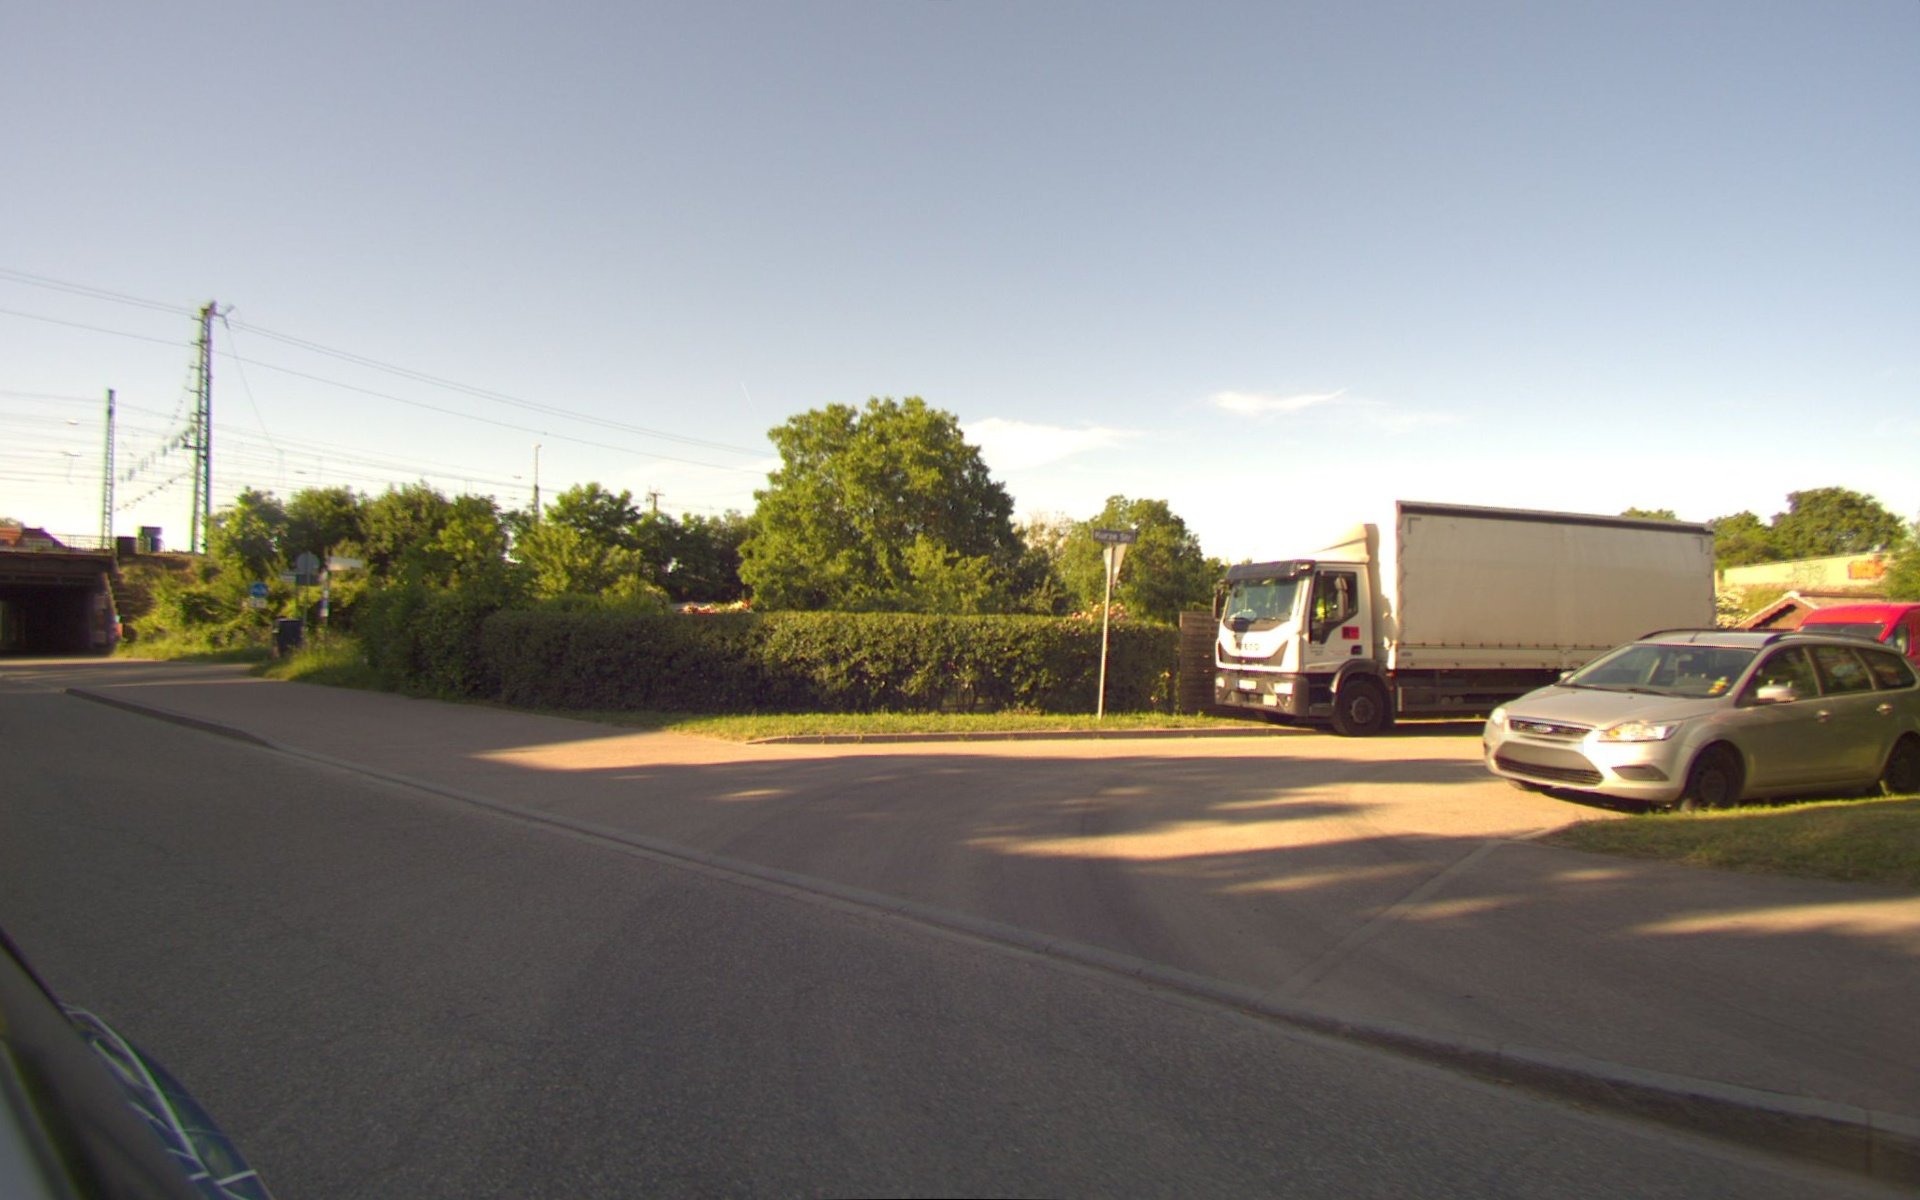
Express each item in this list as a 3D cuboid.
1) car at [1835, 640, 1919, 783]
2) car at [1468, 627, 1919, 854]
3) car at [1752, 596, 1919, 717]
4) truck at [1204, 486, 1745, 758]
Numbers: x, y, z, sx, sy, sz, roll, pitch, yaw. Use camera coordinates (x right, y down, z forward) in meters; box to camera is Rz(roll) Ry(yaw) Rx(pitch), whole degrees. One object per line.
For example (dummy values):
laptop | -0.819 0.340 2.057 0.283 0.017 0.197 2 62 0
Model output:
car | 11.858 1.233 11.156 4.132 1.447 1.649 2 -1 -22
car | 6.824 1.055 8.944 4.151 1.501 1.883 -1 0 -22
car | 20.051 1.162 21.815 5.545 2.370 2.069 1 -1 -20
truck | 8.924 0.374 17.410 9.173 3.912 2.720 1 -1 -20
